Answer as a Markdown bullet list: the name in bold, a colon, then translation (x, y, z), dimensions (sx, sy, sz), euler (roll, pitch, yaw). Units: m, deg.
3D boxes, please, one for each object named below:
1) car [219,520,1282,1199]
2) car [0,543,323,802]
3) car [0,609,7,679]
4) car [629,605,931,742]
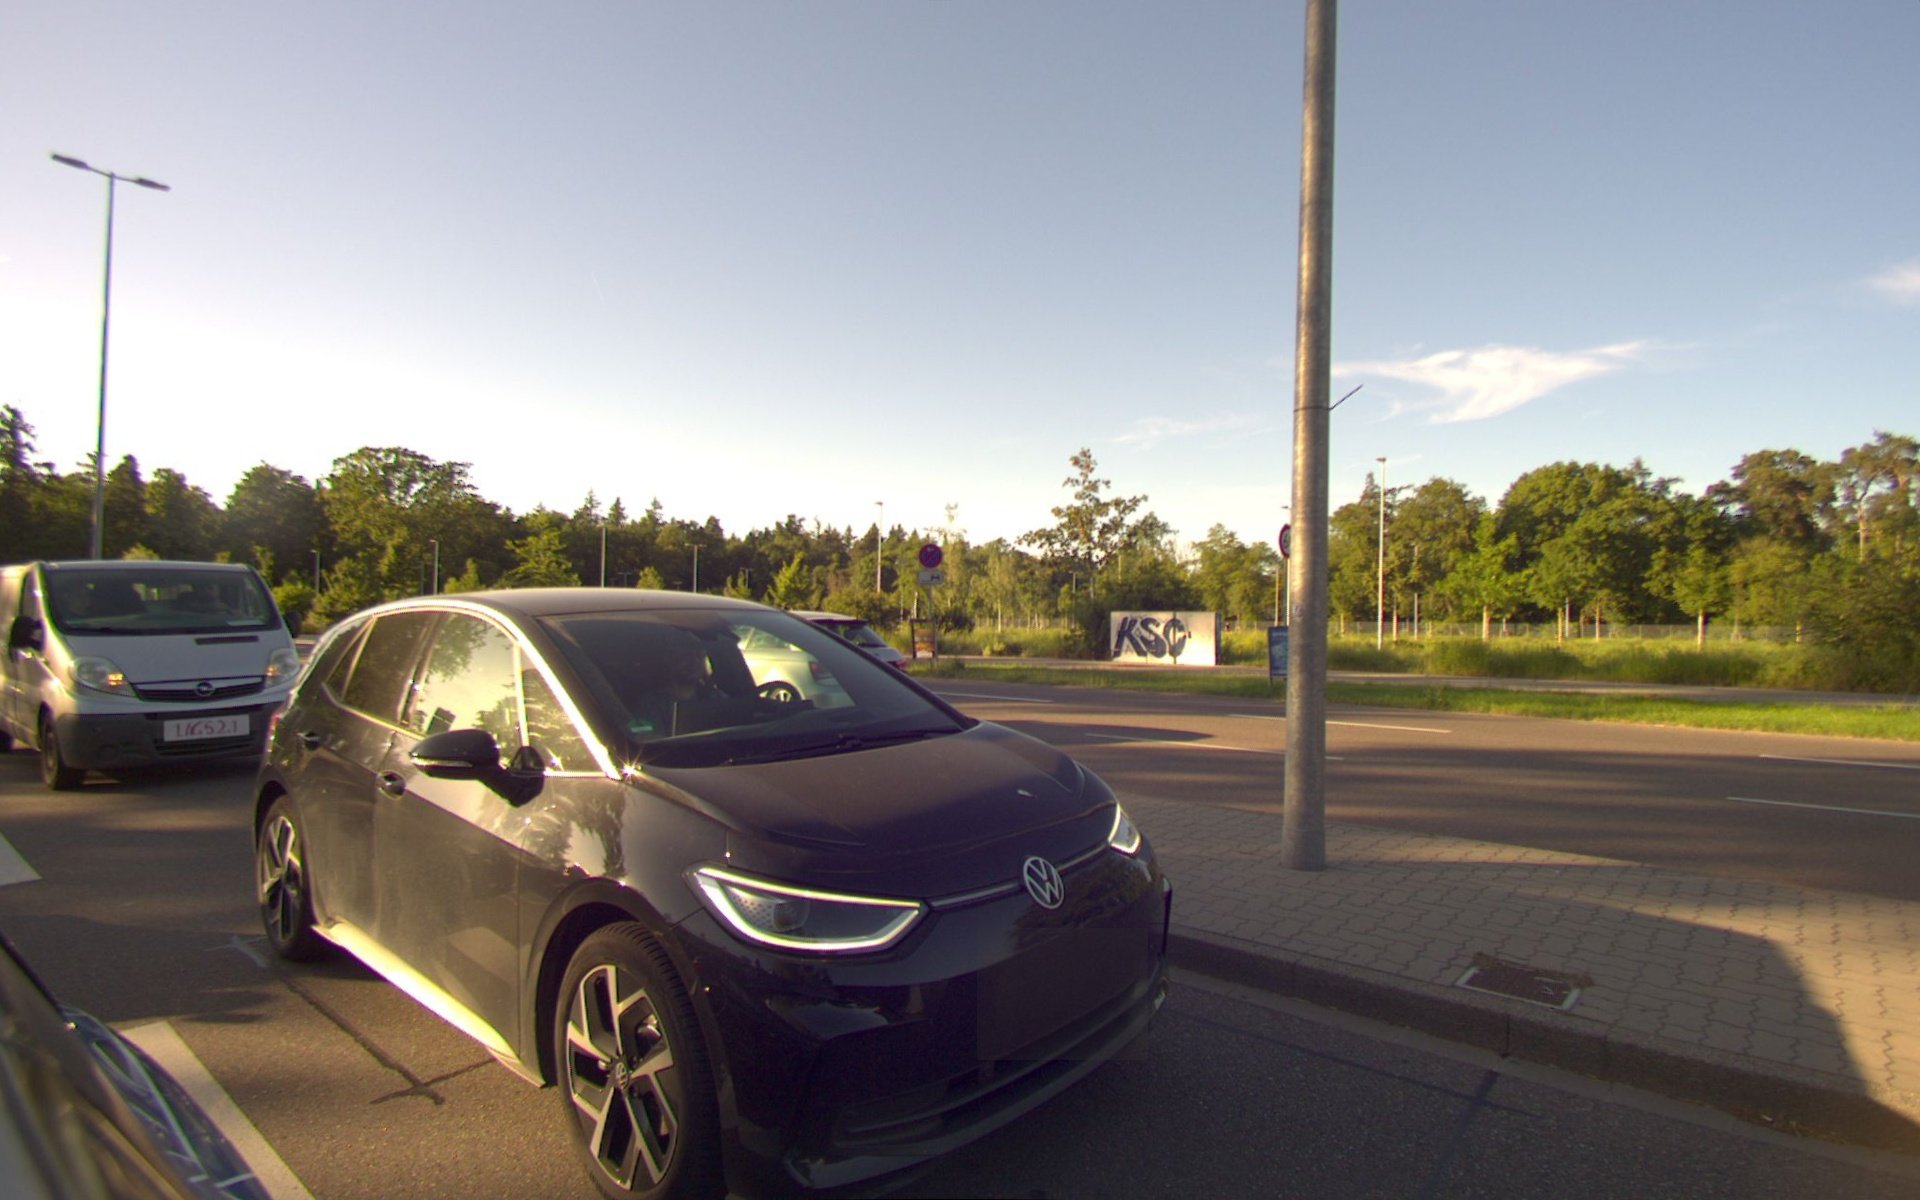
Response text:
- **car**: translation (-1.088, 0.628, 3.813), dimensions (3.997, 1.548, 1.859), euler (0, 0, 40)
- **car**: translation (-8.294, 0.587, 10.070), dimensions (5.044, 1.977, 1.859), euler (-1, 0, 40)
- **car**: translation (-23.259, 1.008, 22.938), dimensions (5.044, 1.535, 1.859), euler (-1, 0, 40)
- **car**: translation (-2.301, 0.770, 12.410), dimensions (3.841, 1.406, 1.583), euler (0, 0, 41)
